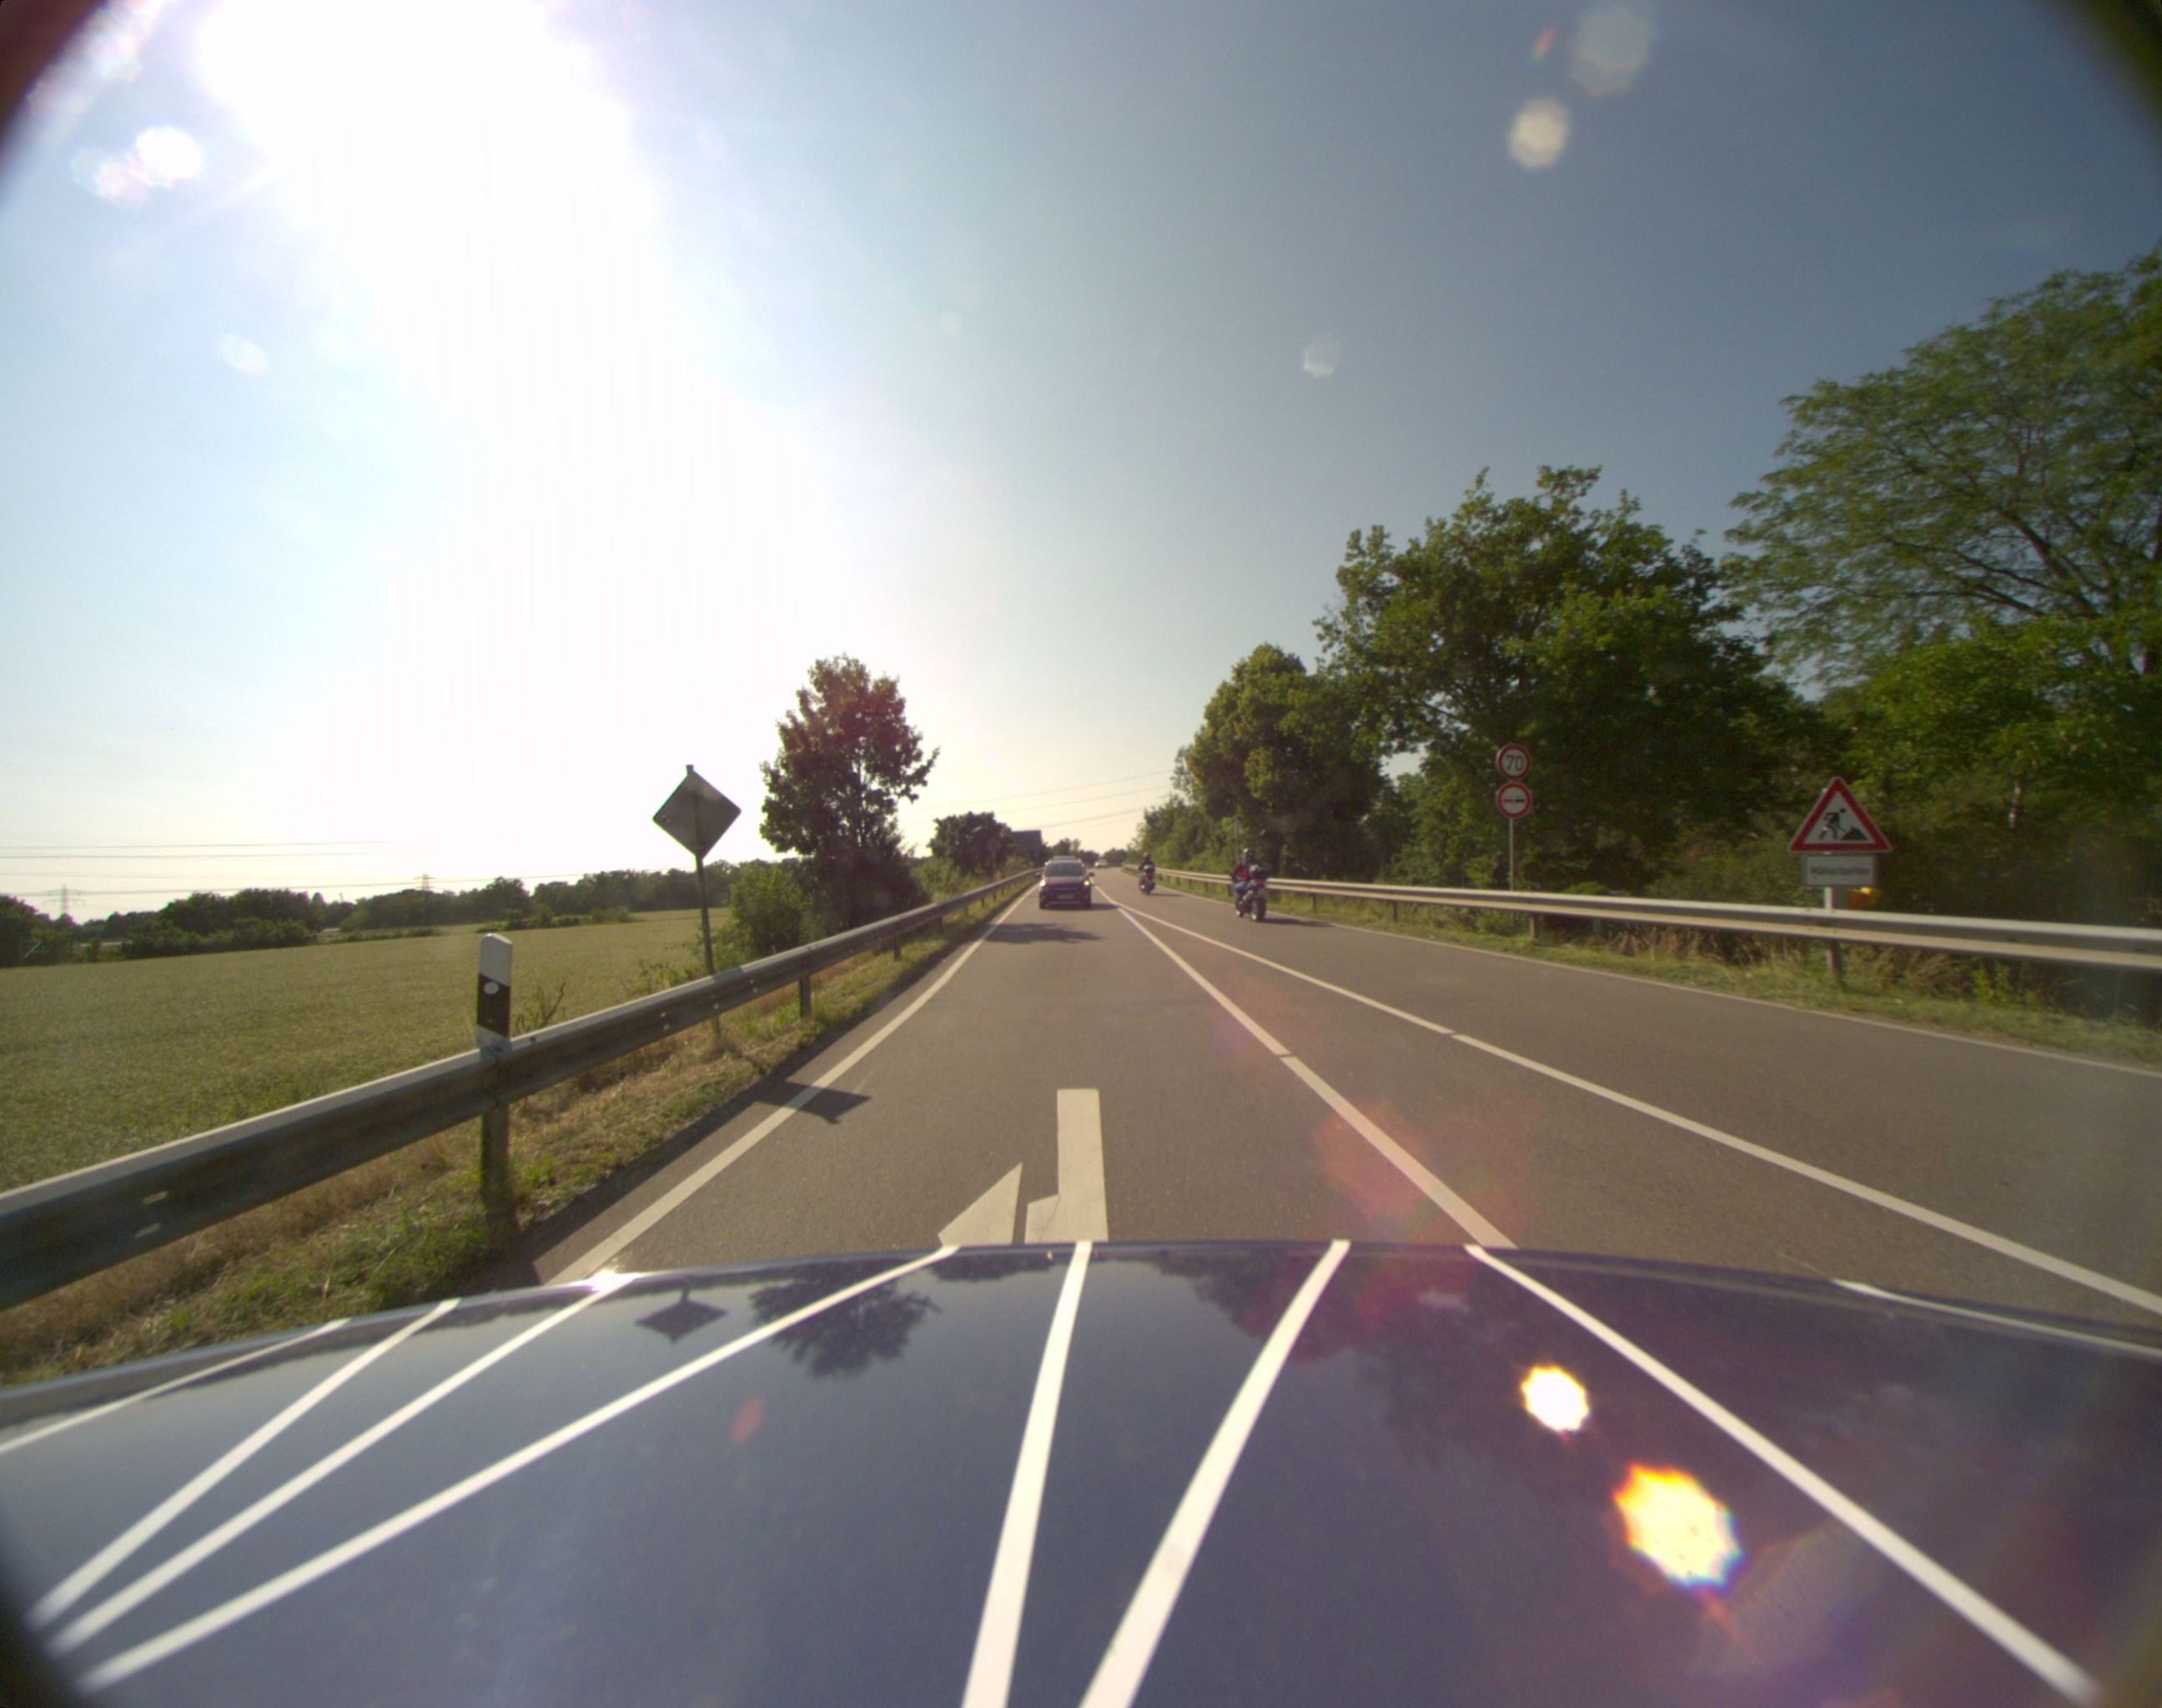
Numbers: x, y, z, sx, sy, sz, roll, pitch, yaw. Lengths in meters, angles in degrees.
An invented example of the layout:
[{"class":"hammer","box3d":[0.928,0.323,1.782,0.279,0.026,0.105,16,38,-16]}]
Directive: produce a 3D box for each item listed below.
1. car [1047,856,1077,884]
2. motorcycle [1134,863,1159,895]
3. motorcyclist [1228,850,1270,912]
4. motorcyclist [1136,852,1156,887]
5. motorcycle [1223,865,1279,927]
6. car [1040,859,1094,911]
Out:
[{"class":"car","box3d":[-1.084,0.915,44.910,1.607,1.486,4.000,-2,0,0]},{"class":"motorcycle","box3d":[2.676,1.008,31.226,0.719,1.243,2.077,-1,0,-3]},{"class":"motorcyclist","box3d":[3.896,0.614,17.670,0.701,1.399,0.979,-1,0,-2]},{"class":"motorcyclist","box3d":[2.668,0.633,31.193,0.701,1.399,0.784,-1,0,-4]},{"class":"motorcycle","box3d":[3.898,0.926,17.623,0.719,1.301,2.181,-1,0,-2]},{"class":"car","box3d":[-0.518,0.942,24.867,1.607,1.486,3.999,-2,0,-3]}]
